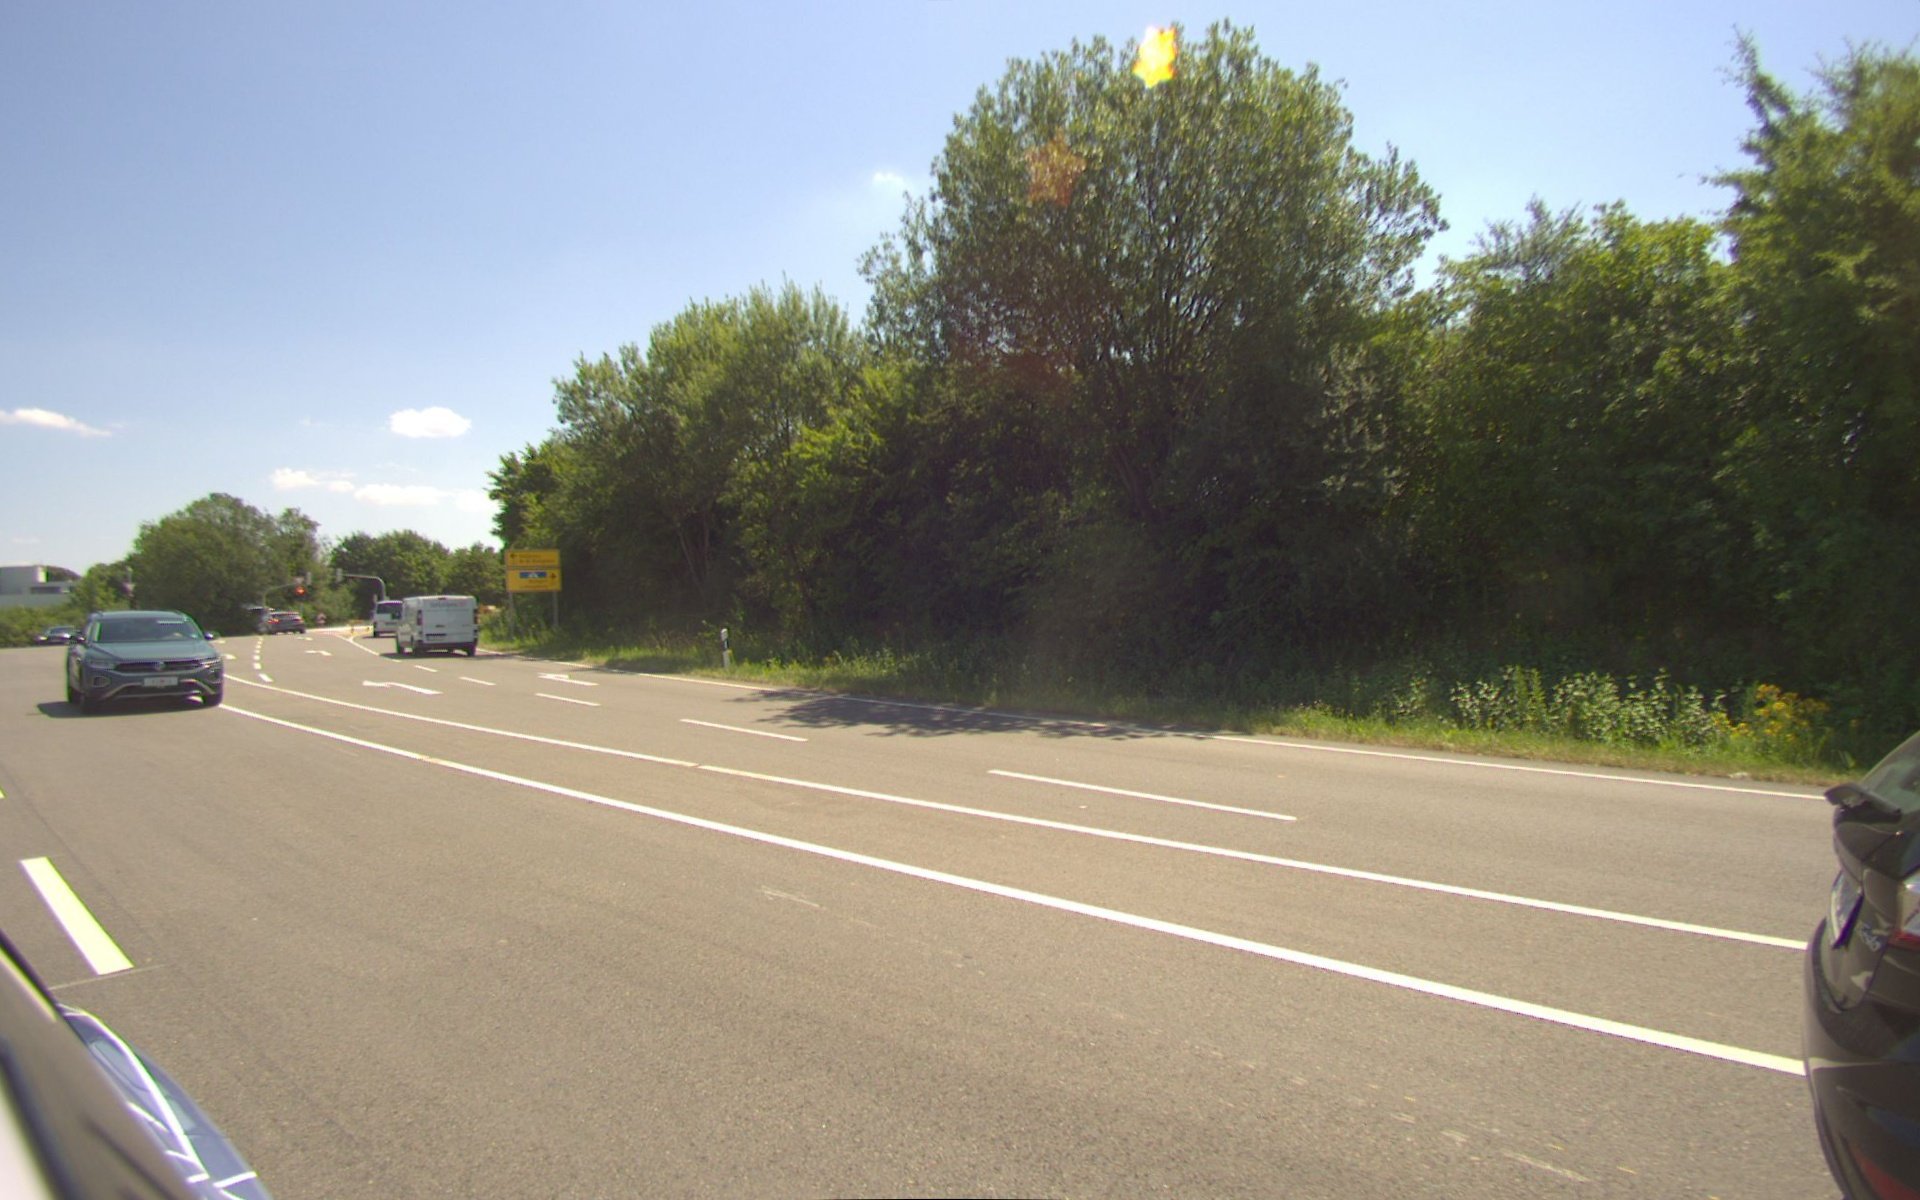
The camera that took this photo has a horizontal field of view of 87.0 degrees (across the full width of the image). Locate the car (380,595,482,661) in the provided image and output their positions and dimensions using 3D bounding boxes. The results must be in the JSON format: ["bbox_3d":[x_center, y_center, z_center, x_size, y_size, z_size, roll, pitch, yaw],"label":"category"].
[{"bbox_3d":[-18.097,0.939,34.463,2.049,2.029,5.818,-1,-1,-38],"label":"car"}]

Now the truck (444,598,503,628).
[{"bbox_3d":[-62.194,1.641,129.550,2.957,3.564,6.826,-3,0,14],"label":"truck"}]

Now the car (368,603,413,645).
[{"bbox_3d":[-31.043,1.323,55.082,1.947,2.028,4.854,-4,0,-30],"label":"car"}]

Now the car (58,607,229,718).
[{"bbox_3d":[-13.682,0.956,16.863,1.813,1.598,4.394,0,-1,-44],"label":"car"}]

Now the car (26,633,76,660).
[{"bbox_3d":[-59.266,2.997,66.052,2.084,1.603,4.460,0,-1,-37],"label":"car"}]

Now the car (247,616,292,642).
[{"bbox_3d":[-47.831,2.026,70.063,4.354,1.611,1.591,-4,0,43],"label":"car"}]

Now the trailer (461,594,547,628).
[{"bbox_3d":[-60.851,1.344,135.509,3.042,4.093,13.119,-3,0,13],"label":"trailer"}]

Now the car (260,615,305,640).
[{"bbox_3d":[-44.705,1.818,66.754,1.969,1.449,4.228,-3,0,-40],"label":"car"}]

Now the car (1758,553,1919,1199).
[{"bbox_3d":[3.402,0.611,0.830,4.205,1.505,1.636,-3,-1,41],"label":"car"}]
